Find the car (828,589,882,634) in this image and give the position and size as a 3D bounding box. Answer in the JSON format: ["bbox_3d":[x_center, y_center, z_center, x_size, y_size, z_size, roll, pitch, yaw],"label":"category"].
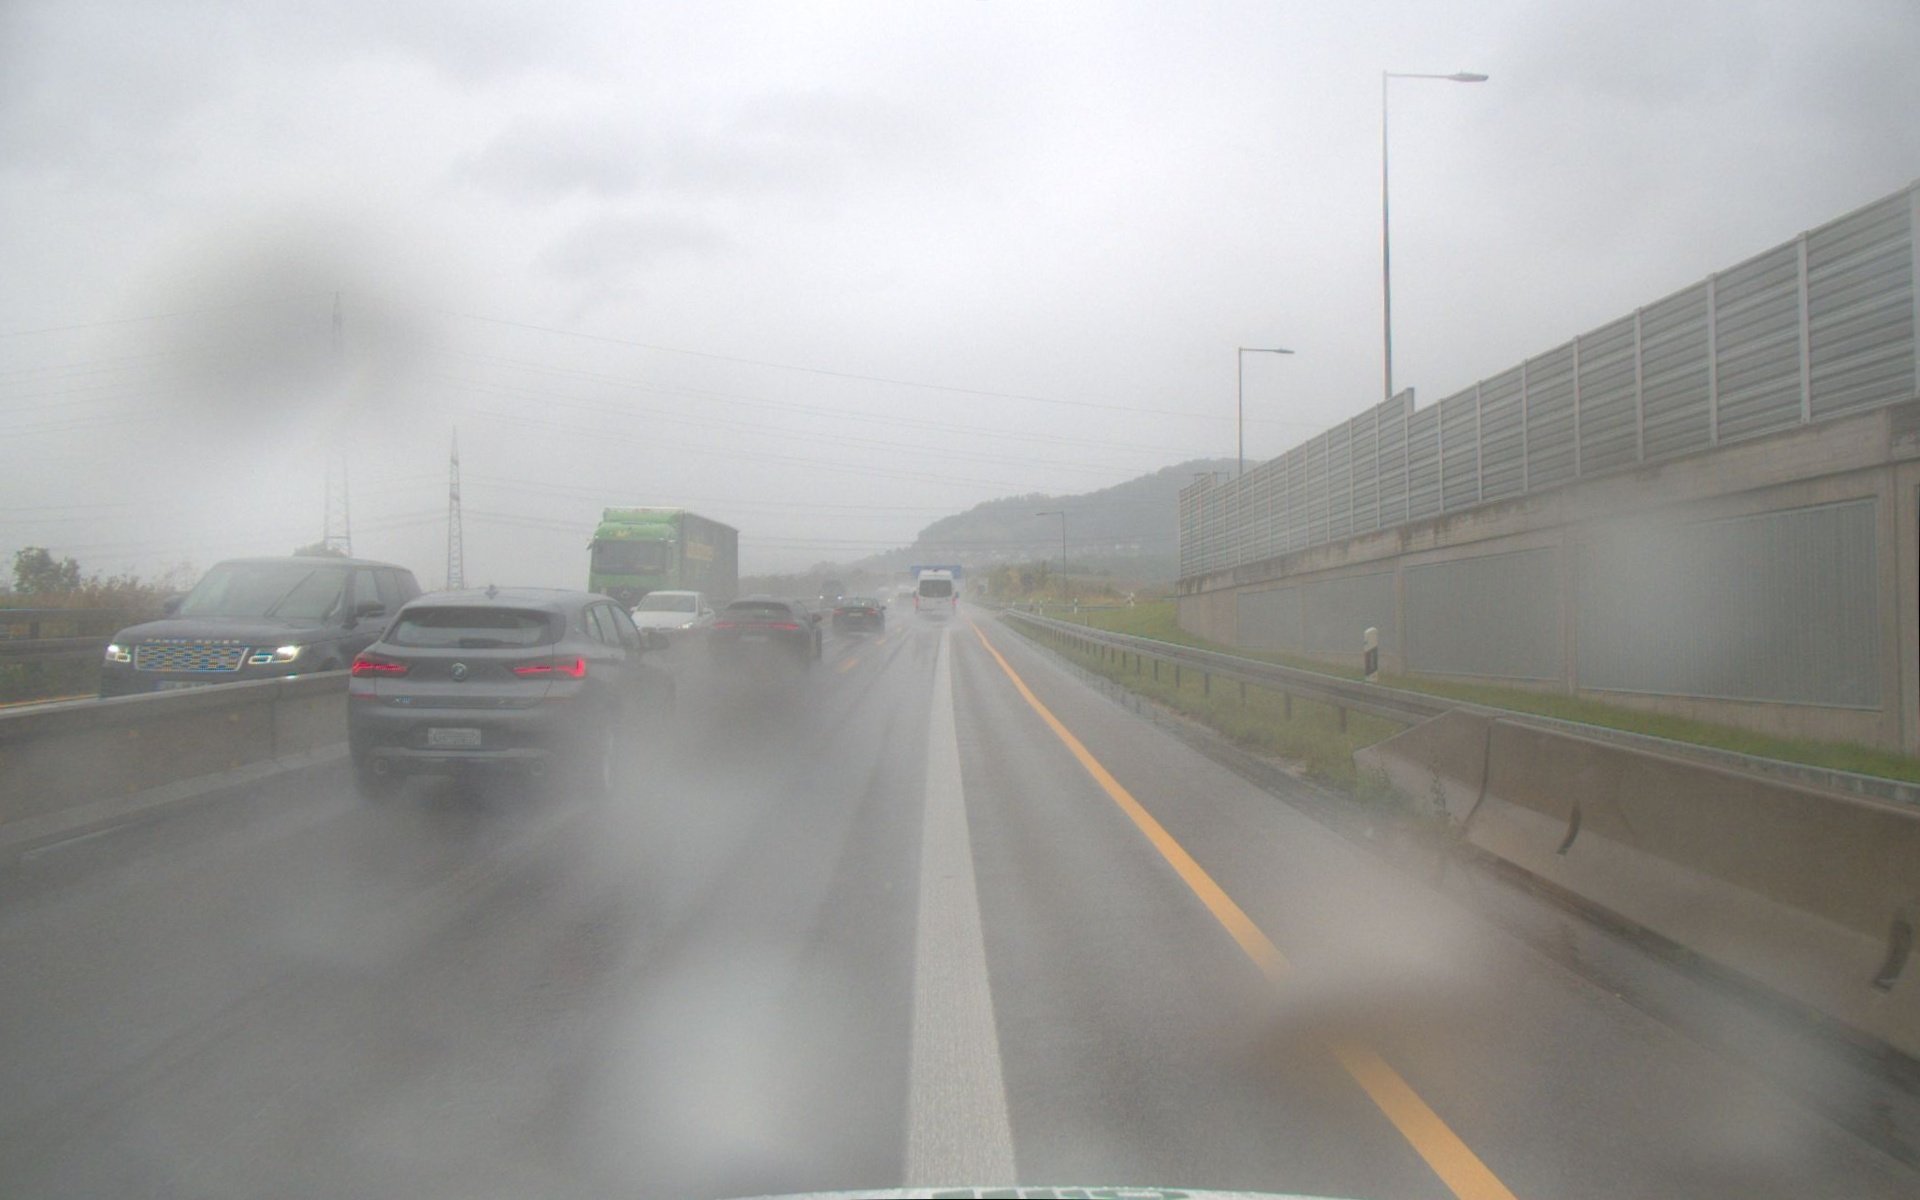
[{"bbox_3d":[-3.796,0.392,59.397,1.808,1.517,4.258,-2,0,-4],"label":"car"}]

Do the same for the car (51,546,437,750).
[{"bbox_3d":[-6.790,0.406,16.336,1.860,1.716,4.739,0,0,-2],"label":"car"}]

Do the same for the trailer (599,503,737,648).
[{"bbox_3d":[-10.076,-0.790,58.698,2.528,4.535,13.551,1,0,0],"label":"trailer"}]

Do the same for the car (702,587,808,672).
[{"bbox_3d":[-3.907,0.586,32.054,1.808,1.517,4.257,1,-1,-4],"label":"car"}]

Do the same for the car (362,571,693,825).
[{"bbox_3d":[-3.191,0.692,13.158,1.667,1.626,4.840,1,-1,-4],"label":"car"}]

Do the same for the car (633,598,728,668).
[{"bbox_3d":[-6.855,0.823,40.939,1.666,1.626,4.319,1,-1,-1],"label":"car"}]

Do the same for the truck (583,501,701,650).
[{"bbox_3d":[-10.044,-0.749,52.888,2.555,4.465,6.289,1,0,-1],"label":"truck"}]

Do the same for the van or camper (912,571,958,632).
[{"bbox_3d":[-1.242,0.118,79.823,1.957,2.826,4.045,1,-1,-4],"label":"van or camper"}]
